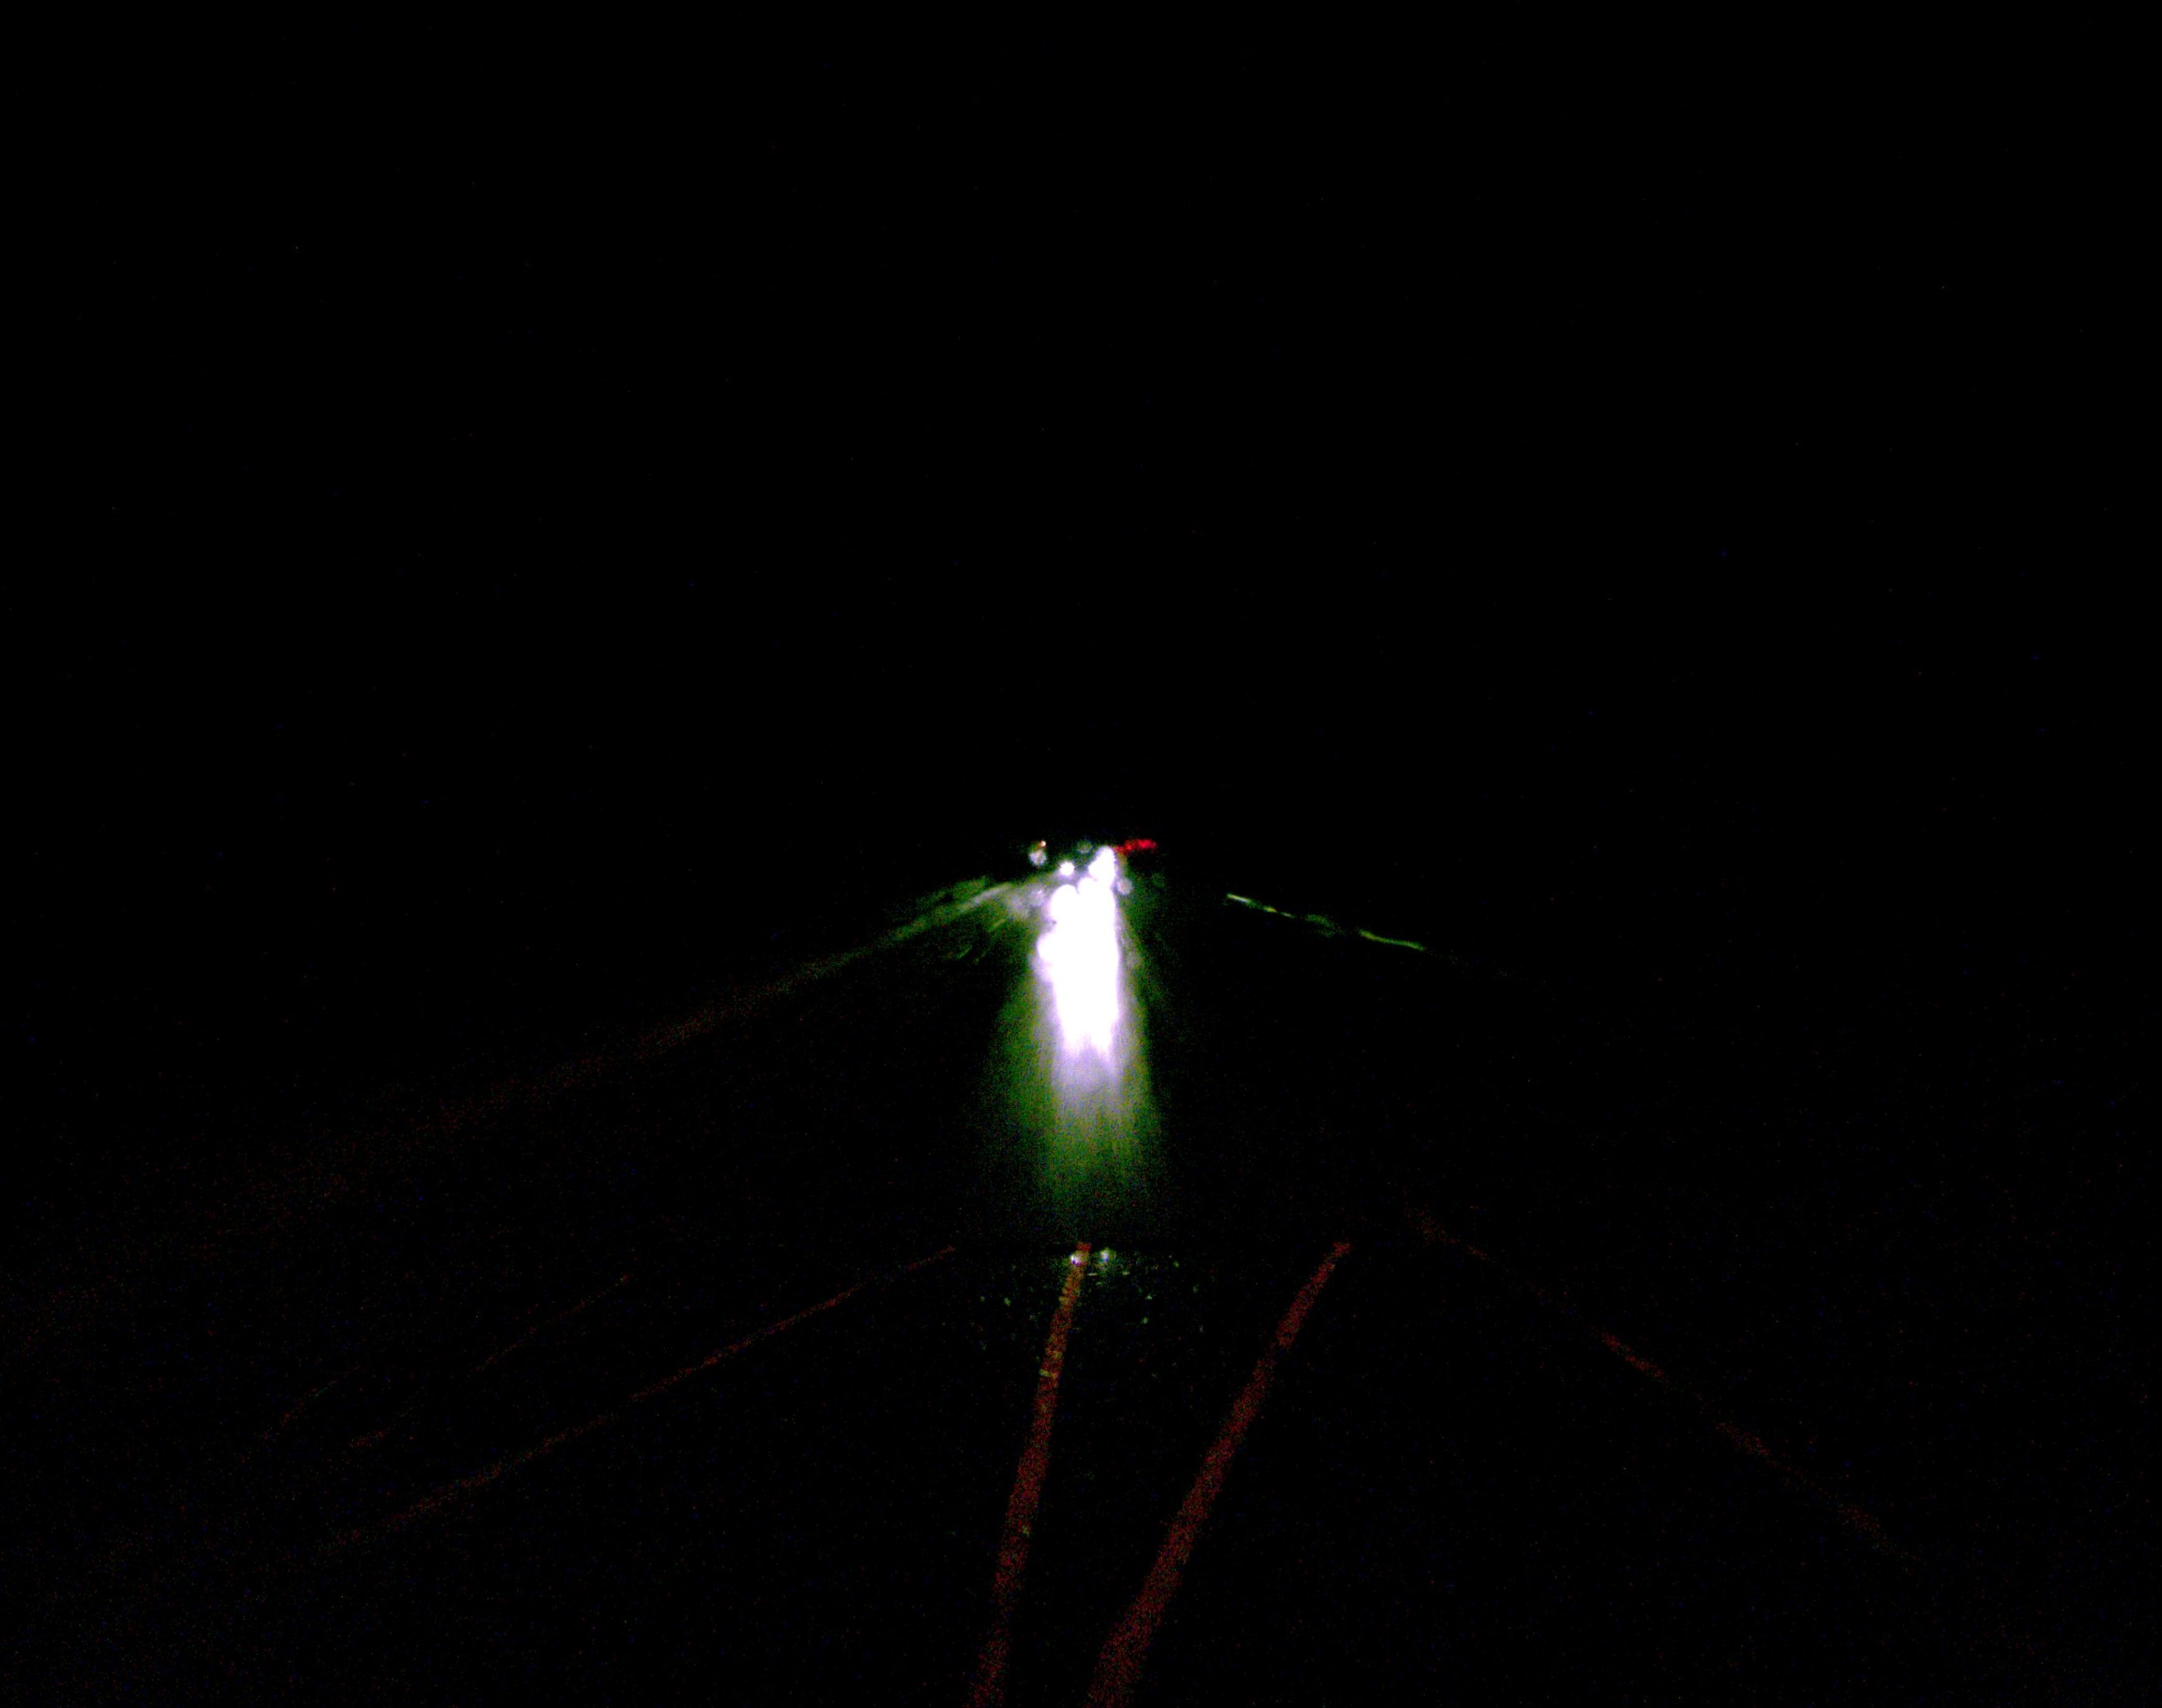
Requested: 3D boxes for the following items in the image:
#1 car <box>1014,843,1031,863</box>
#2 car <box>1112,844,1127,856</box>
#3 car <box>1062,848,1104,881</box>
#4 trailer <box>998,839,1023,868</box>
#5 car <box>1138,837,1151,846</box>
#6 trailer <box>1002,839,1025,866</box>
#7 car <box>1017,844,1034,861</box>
[{"bbox_3d":[-6.950,-0.146,89.947,1.883,2.029,4.387,-4,2,-5],"label":"car"},{"bbox_3d":[5.462,-0.607,107.693,1.806,1.501,3.614,-3,1,0],"label":"car"},{"bbox_3d":[0.131,0.519,40.345,1.998,1.412,3.999,-4,2,1],"label":"car"},{"bbox_3d":[-6.257,-0.068,67.653,1.634,2.351,4.651,-6,2,-1],"label":"trailer"},{"bbox_3d":[11.557,-2.284,138.544,1.998,1.452,4.897,-4,2,2],"label":"car"},{"bbox_3d":[-6.415,-0.178,72.754,1.610,2.339,4.429,-6,2,-1],"label":"trailer"},{"bbox_3d":[-6.955,-0.213,94.852,1.883,1.799,4.153,-4,2,-3],"label":"car"}]
